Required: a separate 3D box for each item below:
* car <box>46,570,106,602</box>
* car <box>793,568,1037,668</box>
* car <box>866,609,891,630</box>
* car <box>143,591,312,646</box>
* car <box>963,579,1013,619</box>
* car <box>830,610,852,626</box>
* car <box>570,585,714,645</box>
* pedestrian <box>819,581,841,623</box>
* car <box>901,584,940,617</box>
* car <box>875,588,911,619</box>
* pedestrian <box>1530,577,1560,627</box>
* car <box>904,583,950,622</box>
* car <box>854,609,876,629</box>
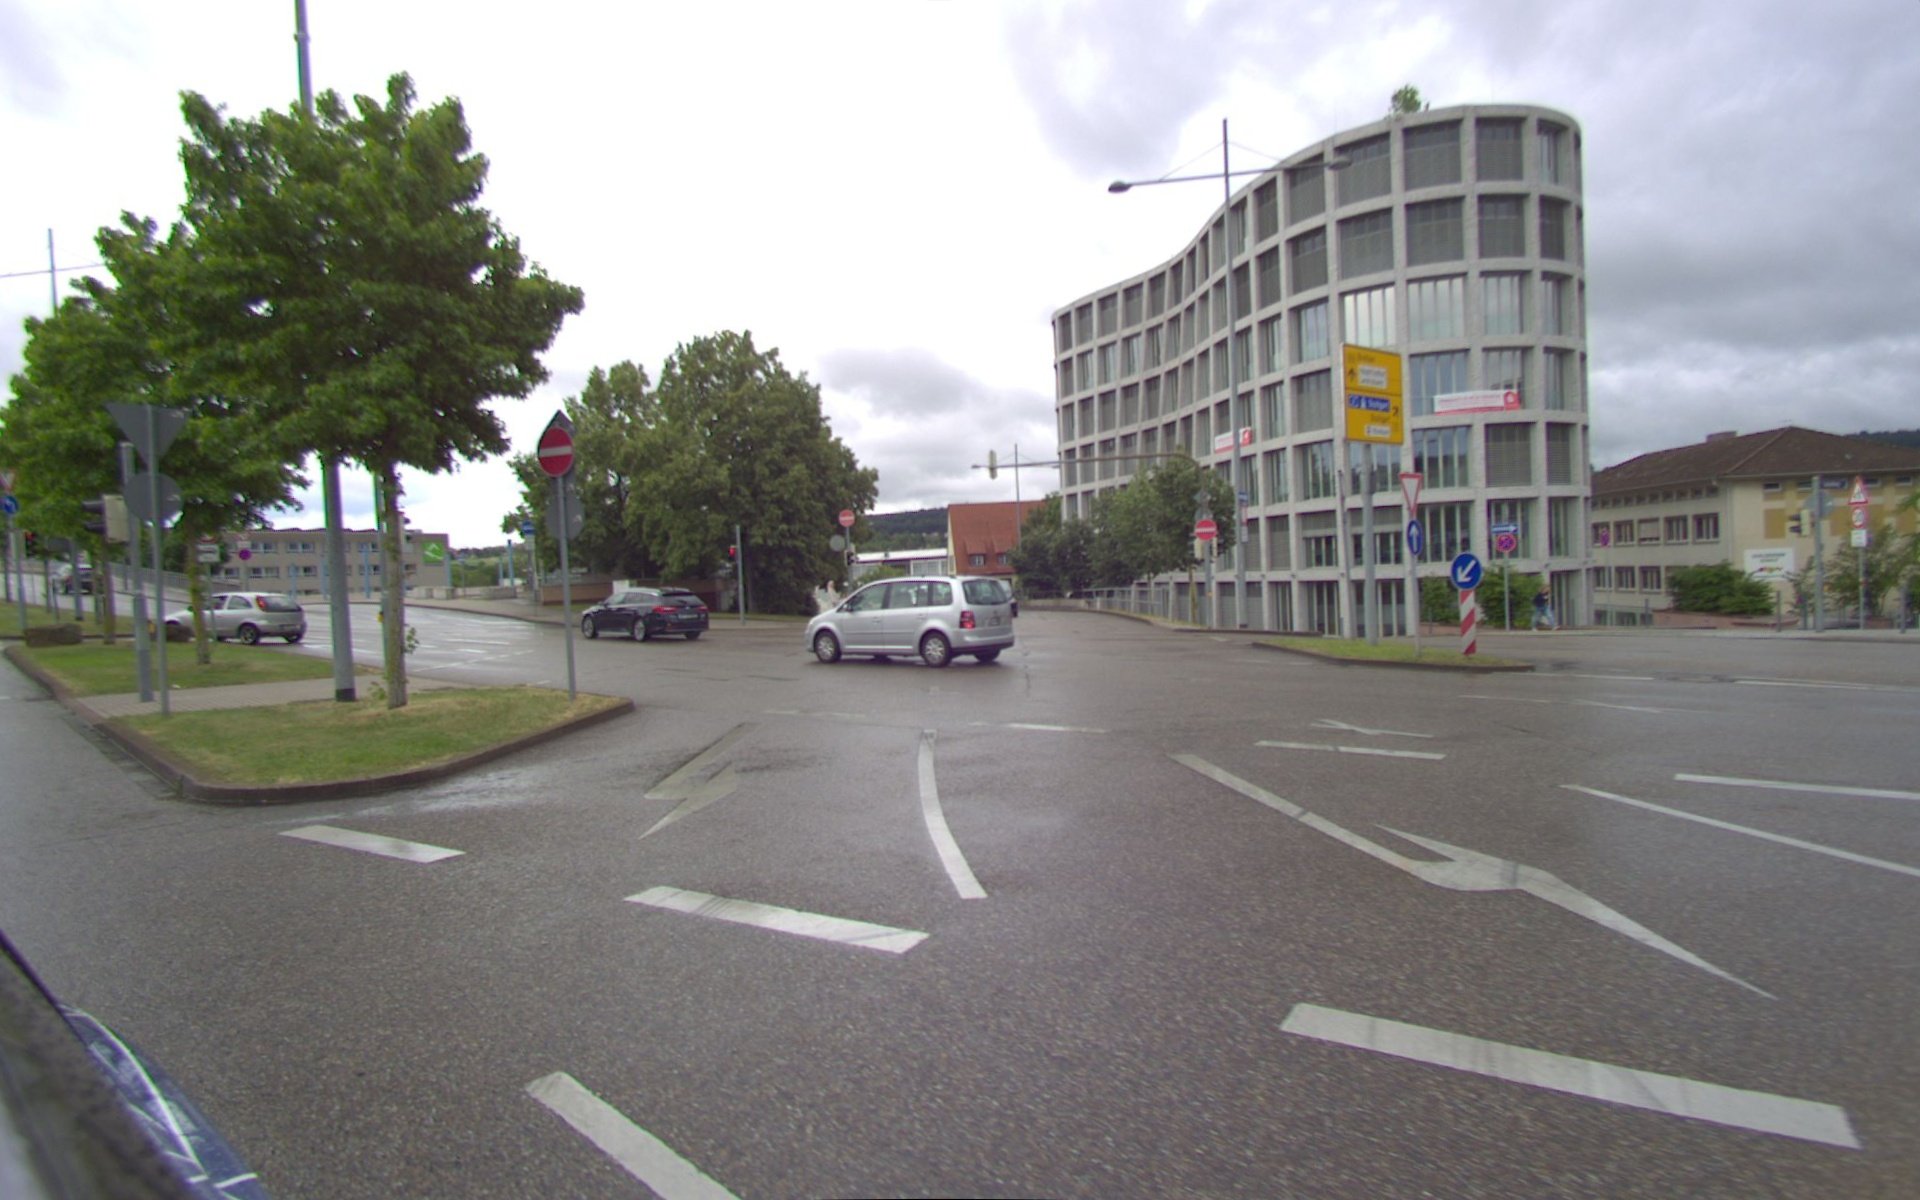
[{"bbox_3d":[-51.252,-0.850,58.661,4.855,1.674,1.889,3,4,40],"label":"car"},{"bbox_3d":[-0.921,0.318,19.120,4.410,1.665,1.831,-1,1,36],"label":"car"},{"bbox_3d":[-6.707,1.579,83.284,1.547,1.563,3.189,-2,1,-12],"label":"car"},{"bbox_3d":[-20.480,0.506,28.348,3.833,1.459,1.632,0,1,10],"label":"car"},{"bbox_3d":[1.125,-0.079,42.962,1.702,1.579,3.842,-2,1,-4],"label":"car"},{"bbox_3d":[-11.395,1.698,96.745,1.546,1.405,3.190,-2,1,-15],"label":"car"},{"bbox_3d":[-9.122,0.406,28.790,4.922,1.515,1.826,-1,1,45],"label":"car"},{"bbox_3d":[-4.919,0.069,38.319,0.642,1.582,0.633,0,1,-29],"label":"pedestrian"},{"bbox_3d":[-2.018,0.004,50.583,1.702,1.519,4.061,-2,1,-5],"label":"car"},{"bbox_3d":[-3.998,0.164,60.039,1.700,1.711,3.659,-2,1,-10],"label":"car"},{"bbox_3d":[19.084,0.055,32.997,0.705,1.595,0.664,0,2,42],"label":"pedestrian"},{"bbox_3d":[-1.467,0.063,44.516,1.860,1.579,4.144,-2,1,-2],"label":"car"},{"bbox_3d":[-8.398,1.644,89.389,1.547,1.563,3.189,-2,1,-12],"label":"car"}]
